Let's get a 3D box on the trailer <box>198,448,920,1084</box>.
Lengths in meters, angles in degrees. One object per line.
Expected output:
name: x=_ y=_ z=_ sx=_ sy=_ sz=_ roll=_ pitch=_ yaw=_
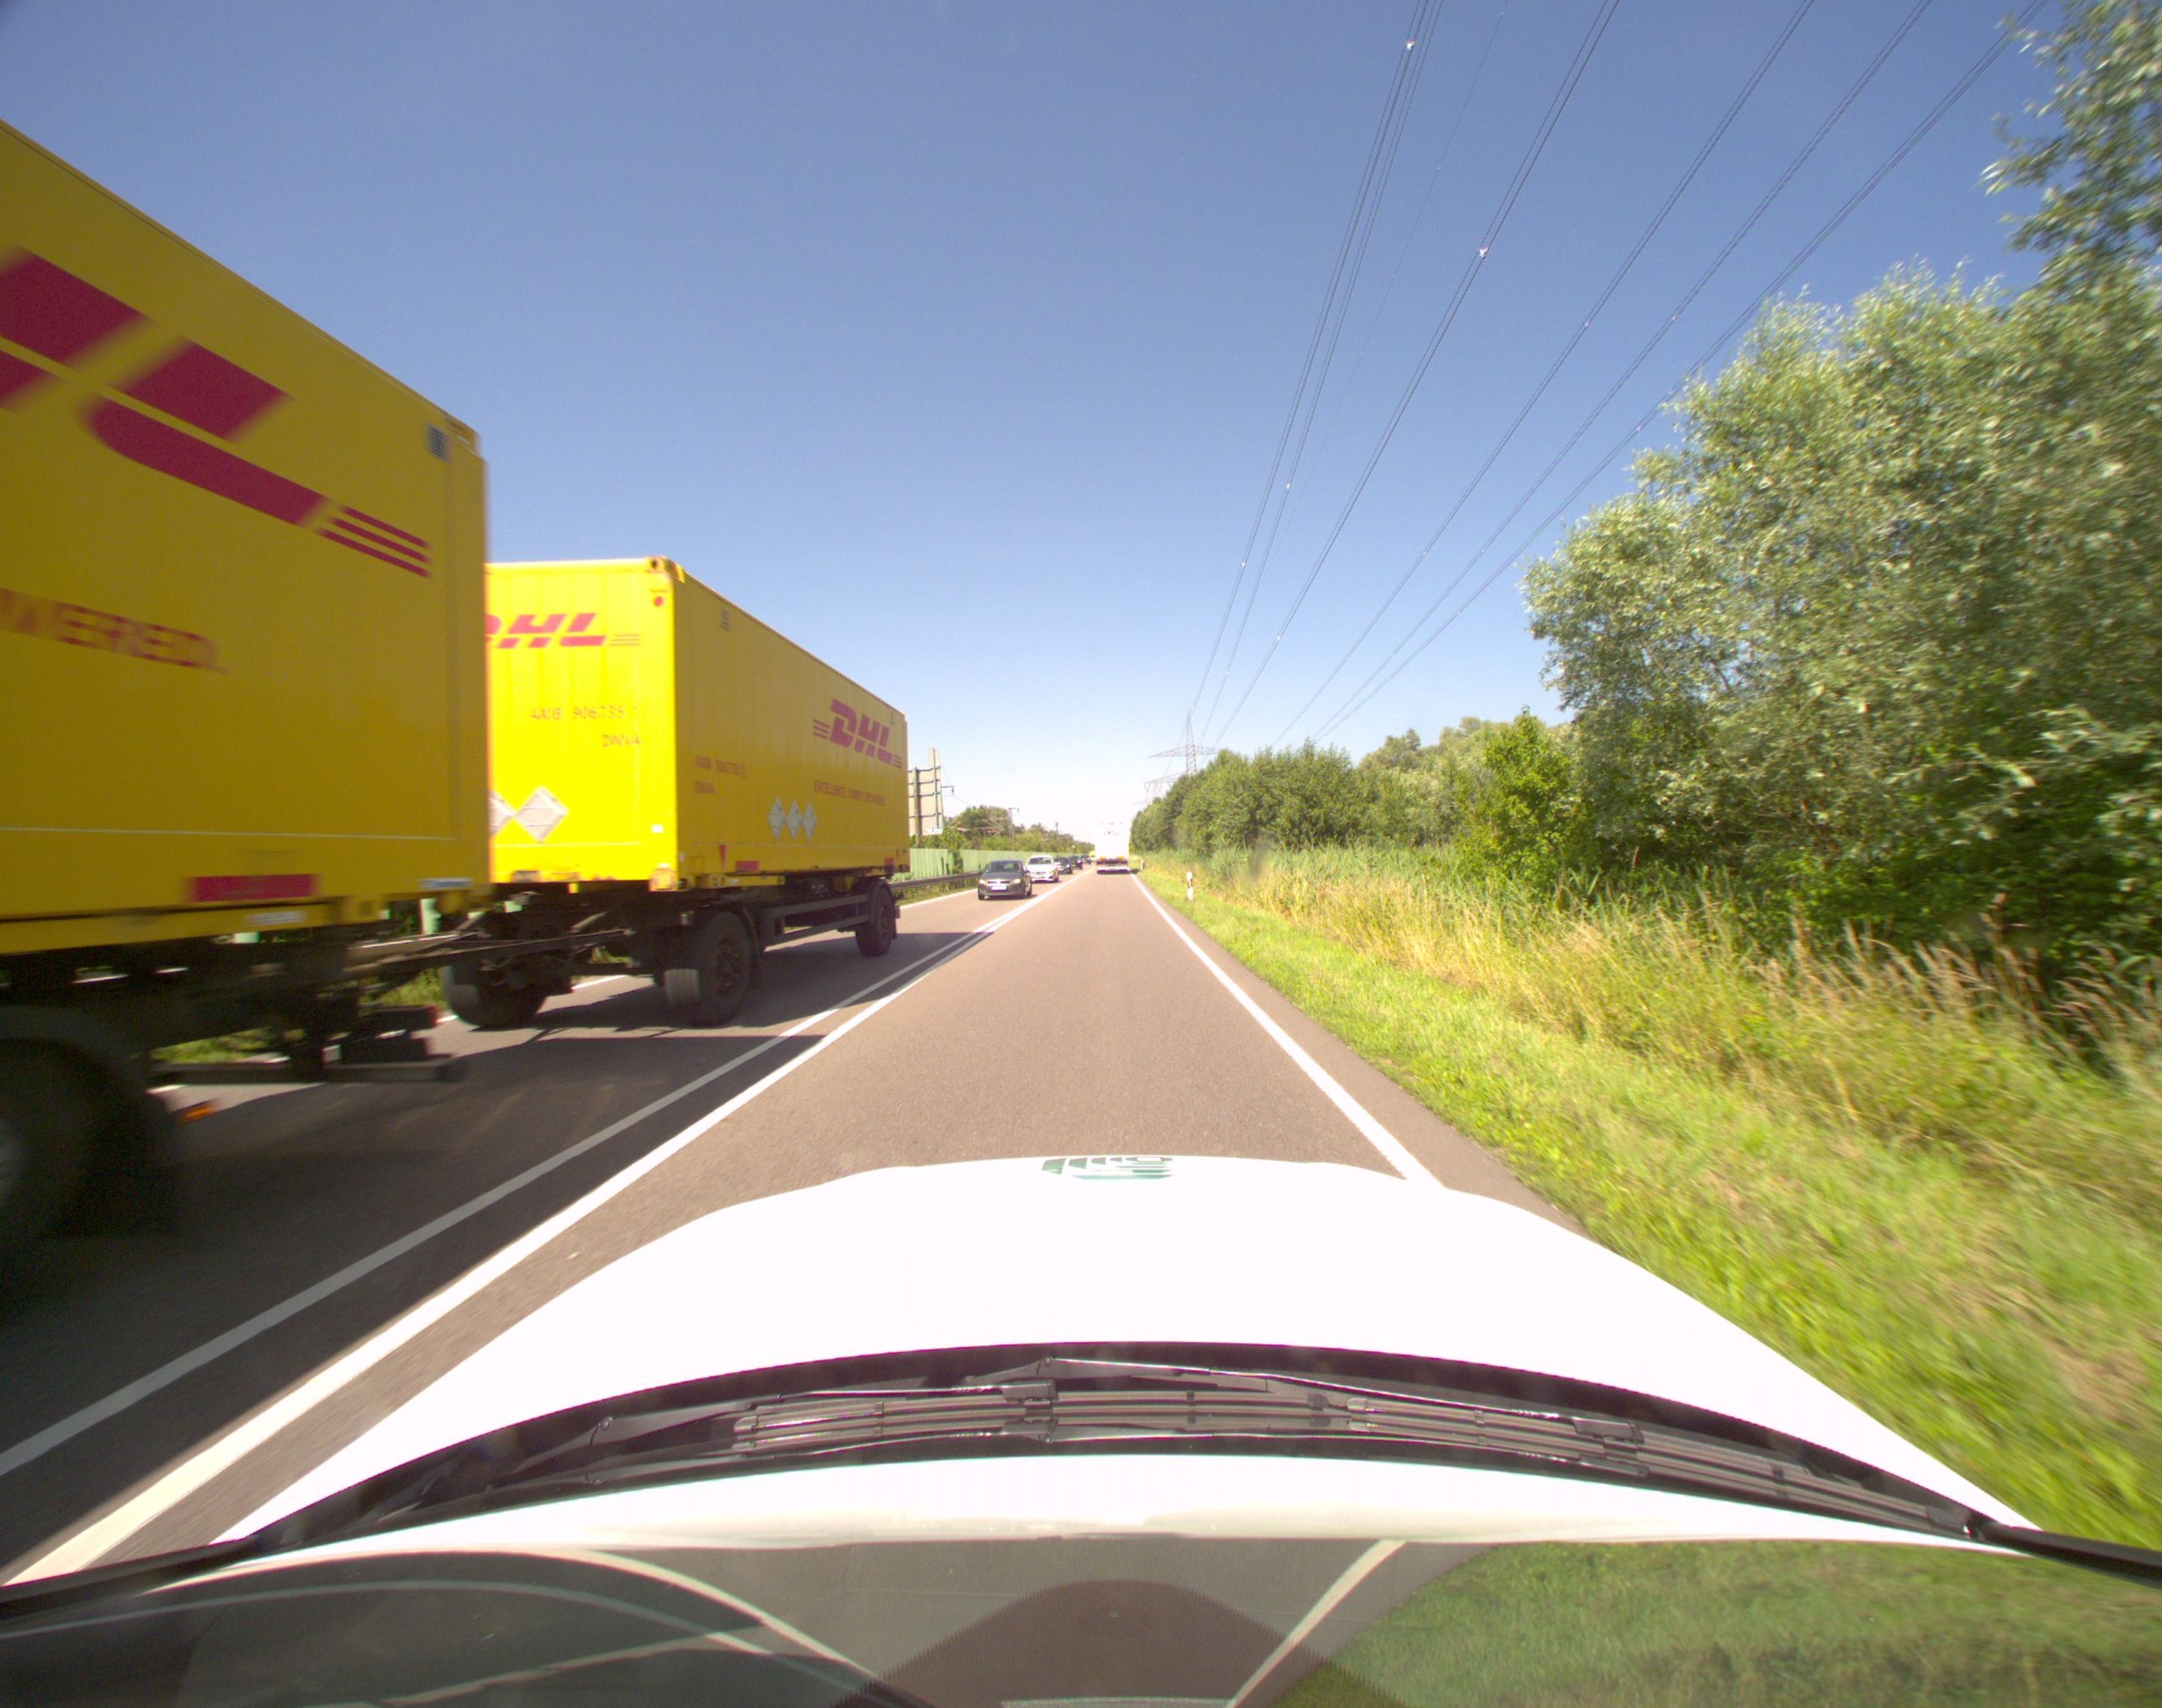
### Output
trailer: x=-4.383 y=-0.571 z=9.992 sx=2.538 sy=4.144 sz=9.233 roll=-1 pitch=0 yaw=2

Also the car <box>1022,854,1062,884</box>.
car: x=-2.214 y=0.849 z=47.361 sx=1.817 sy=1.605 sz=4.327 roll=-1 pitch=0 yaw=3

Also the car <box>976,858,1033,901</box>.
car: x=-2.764 y=0.892 z=30.253 sx=1.608 sy=1.441 sz=3.796 roll=-1 pitch=0 yaw=2

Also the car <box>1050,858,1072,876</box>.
car: x=-1.632 y=1.054 z=67.188 sx=1.500 sy=1.435 sz=3.745 roll=-1 pitch=0 yaw=3

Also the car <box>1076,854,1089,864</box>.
car: x=0.253 y=0.790 z=135.182 sx=1.794 sy=1.587 sz=4.374 roll=-1 pitch=0 yaw=3

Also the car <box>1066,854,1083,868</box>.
car: x=-0.717 y=0.777 z=89.488 sx=1.666 sy=1.515 sz=4.291 roll=-1 pitch=0 yaw=2

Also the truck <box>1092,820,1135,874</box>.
truck: x=2.704 y=-0.509 z=68.370 sx=3.180 sy=4.042 sz=12.012 roll=-2 pitch=0 yaw=2
